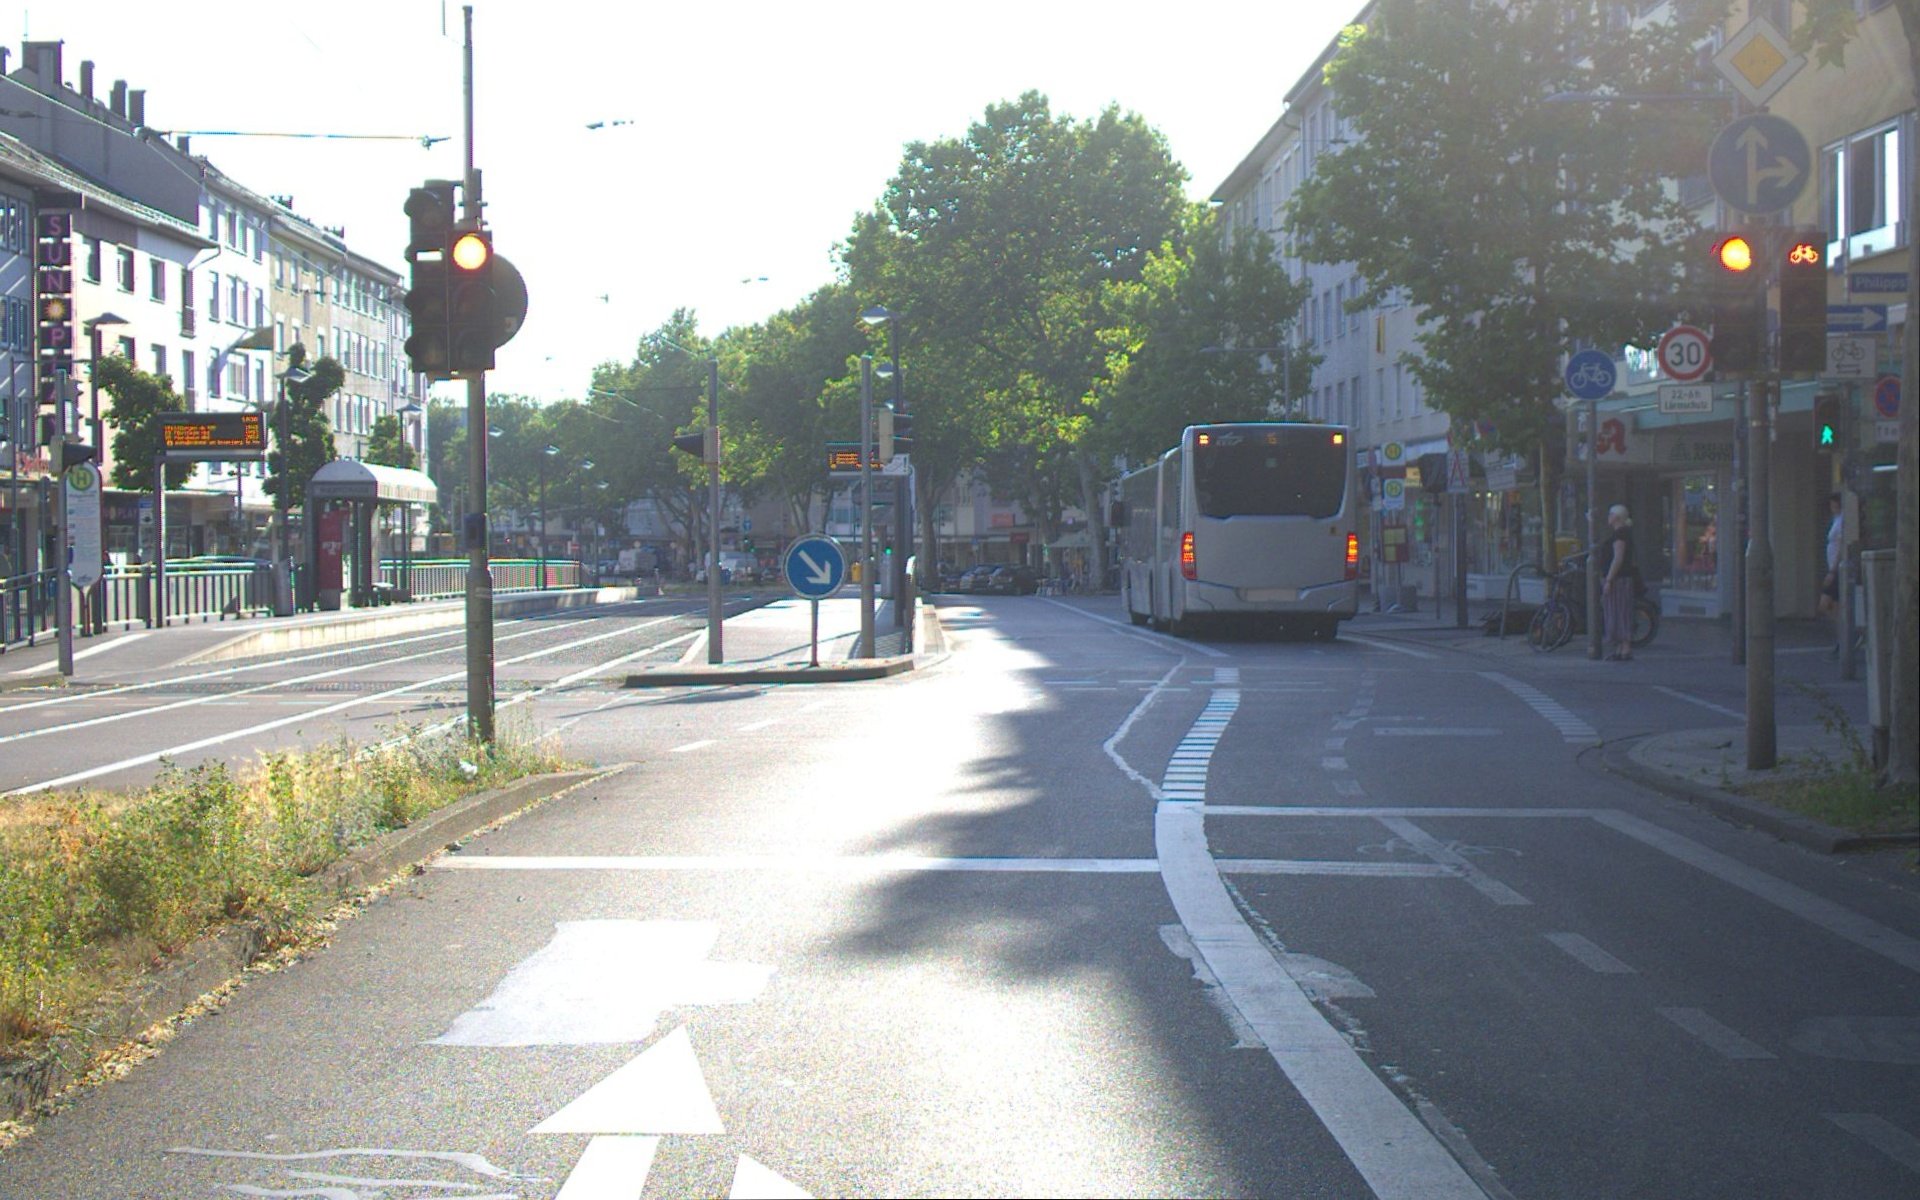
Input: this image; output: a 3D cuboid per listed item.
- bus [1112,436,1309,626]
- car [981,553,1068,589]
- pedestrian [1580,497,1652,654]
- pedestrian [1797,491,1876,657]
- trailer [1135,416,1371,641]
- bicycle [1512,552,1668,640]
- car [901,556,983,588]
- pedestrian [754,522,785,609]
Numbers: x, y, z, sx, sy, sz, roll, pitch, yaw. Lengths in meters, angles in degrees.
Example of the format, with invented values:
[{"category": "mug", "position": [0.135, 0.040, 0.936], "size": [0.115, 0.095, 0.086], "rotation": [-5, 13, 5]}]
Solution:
[{"category": "bus", "position": [4.375, -1.229, 61.778], "size": [2.812, 3.091, 9.094], "rotation": [2, 1, 0]}, {"category": "car", "position": [3.176, -1.445, 169.996], "size": [3.889, 1.693, 1.833], "rotation": [-1, 1, -28]}, {"category": "pedestrian", "position": [7.432, -0.283, 38.959], "size": [0.680, 1.764, 0.687], "rotation": [-1, 1, 1]}, {"category": "pedestrian", "position": [9.449, -0.288, 37.090], "size": [0.680, 1.764, 0.687], "rotation": [-1, 1, 1]}, {"category": "trailer", "position": [4.356, -1.082, 52.838], "size": [2.812, 3.099, 8.795], "rotation": [2, 1, 0]}, {"category": "bicycle", "position": [7.780, -0.056, 42.519], "size": [1.772, 1.018, 0.694], "rotation": [-2, 1, 0]}, {"category": "car", "position": [-0.909, -1.450, 177.865], "size": [3.889, 1.591, 1.691], "rotation": [-1, 1, -28]}, {"category": "pedestrian", "position": [-1.949, -0.355, 35.208], "size": [0.291, 0.872, 0.344], "rotation": [1, 1, -3]}]
